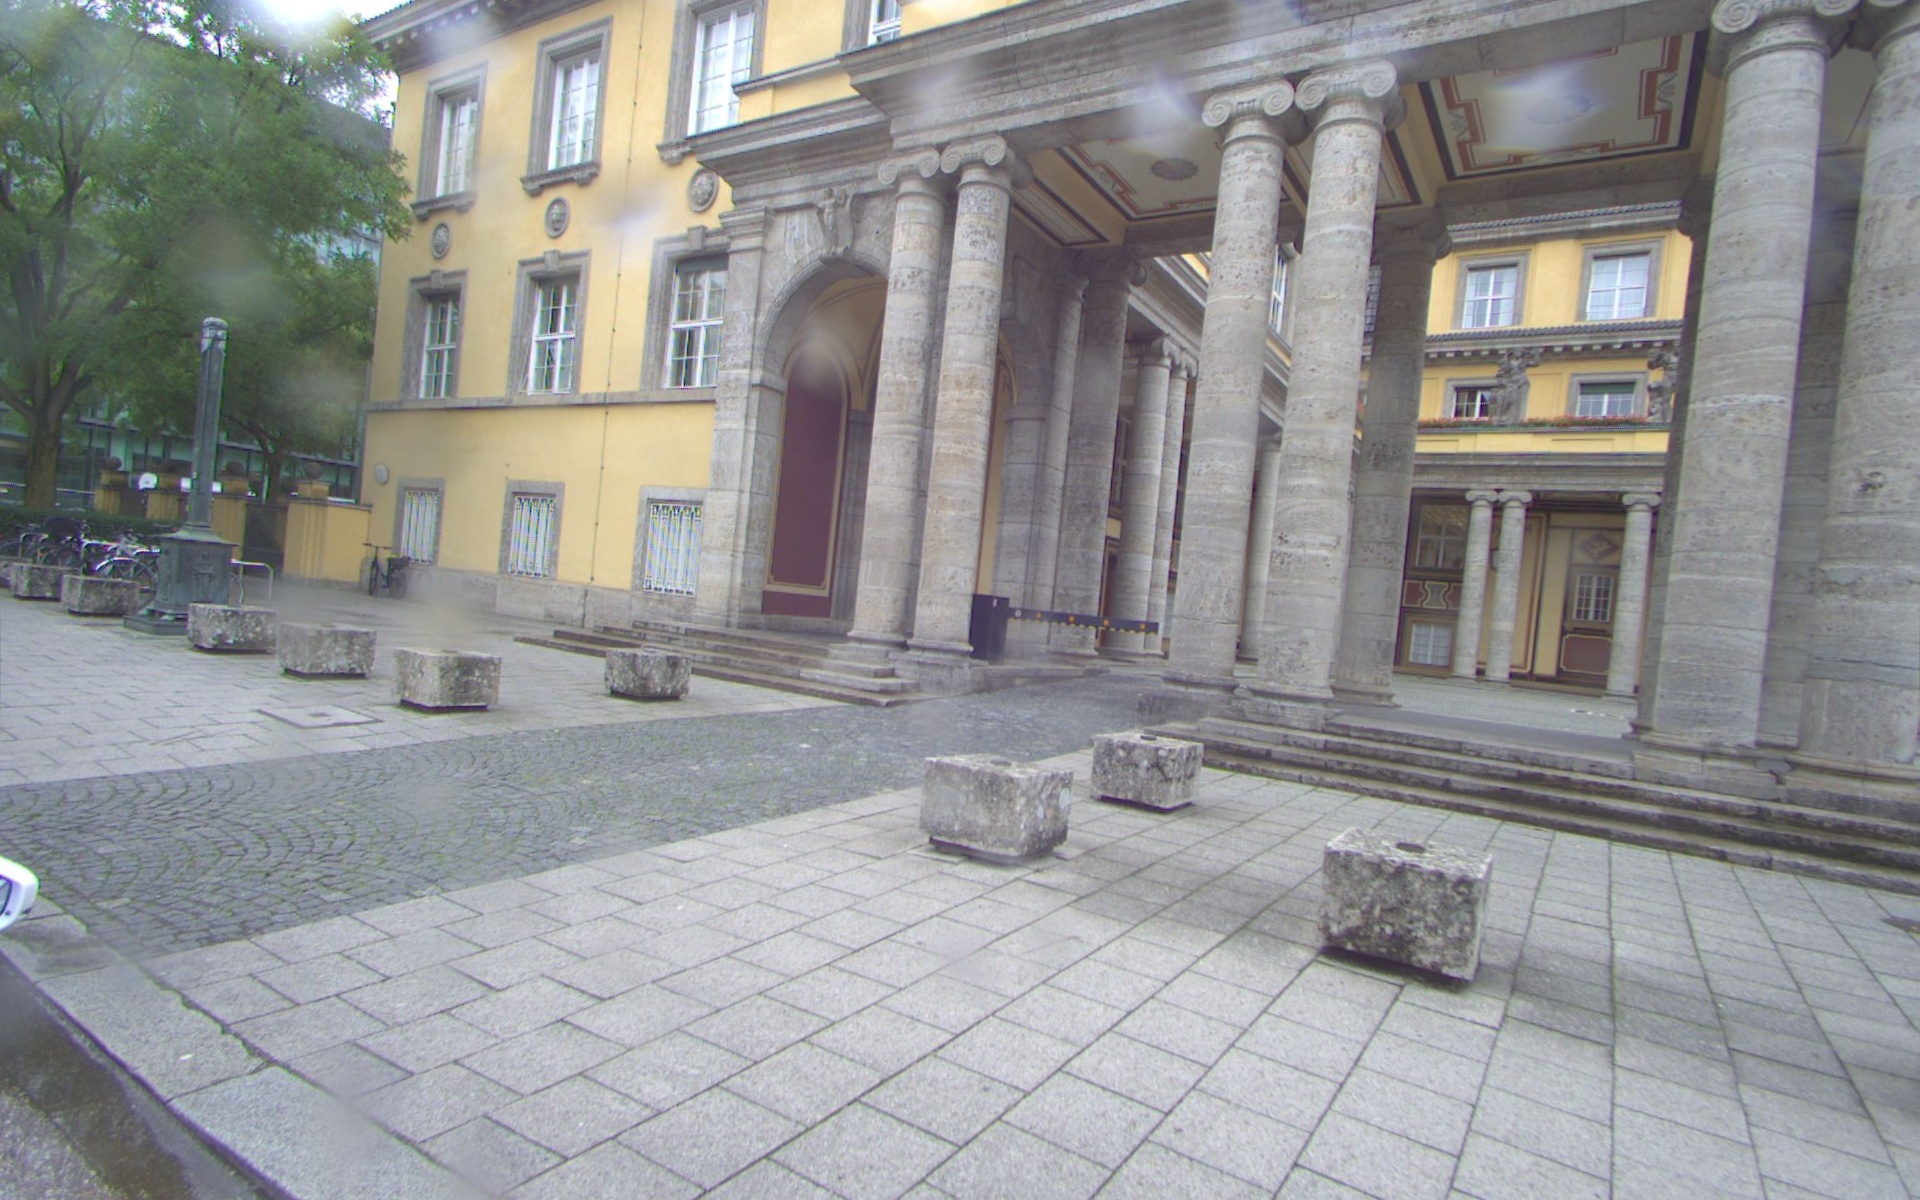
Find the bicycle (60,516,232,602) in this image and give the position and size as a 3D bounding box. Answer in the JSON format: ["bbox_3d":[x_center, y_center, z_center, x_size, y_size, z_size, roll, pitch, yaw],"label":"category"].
[{"bbox_3d":[-12.275,-0.596,15.233,0.464,1.128,1.931,7,2,35],"label":"bicycle"}]

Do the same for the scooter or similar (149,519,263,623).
[{"bbox_3d":[-9.802,-0.371,13.103,0.995,1.238,0.536,5,2,-12],"label":"scooter or similar"}]

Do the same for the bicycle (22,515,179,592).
[{"bbox_3d":[-14.604,-0.773,17.152,0.464,1.128,1.931,7,2,34],"label":"bicycle"}]

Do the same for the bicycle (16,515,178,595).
[{"bbox_3d":[-14.102,-0.712,16.501,0.464,1.128,1.931,7,2,35],"label":"bicycle"}]

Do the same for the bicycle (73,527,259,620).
[{"bbox_3d":[-10.855,-0.333,13.832,0.463,1.128,1.933,6,1,30],"label":"bicycle"}]

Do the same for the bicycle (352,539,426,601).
[{"bbox_3d":[-12.704,-0.675,22.365,1.870,1.169,0.542,7,2,32],"label":"bicycle"}]

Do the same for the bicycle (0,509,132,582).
[{"bbox_3d":[-15.960,-0.955,17.734,0.463,1.128,2.033,6,1,30],"label":"bicycle"}]
